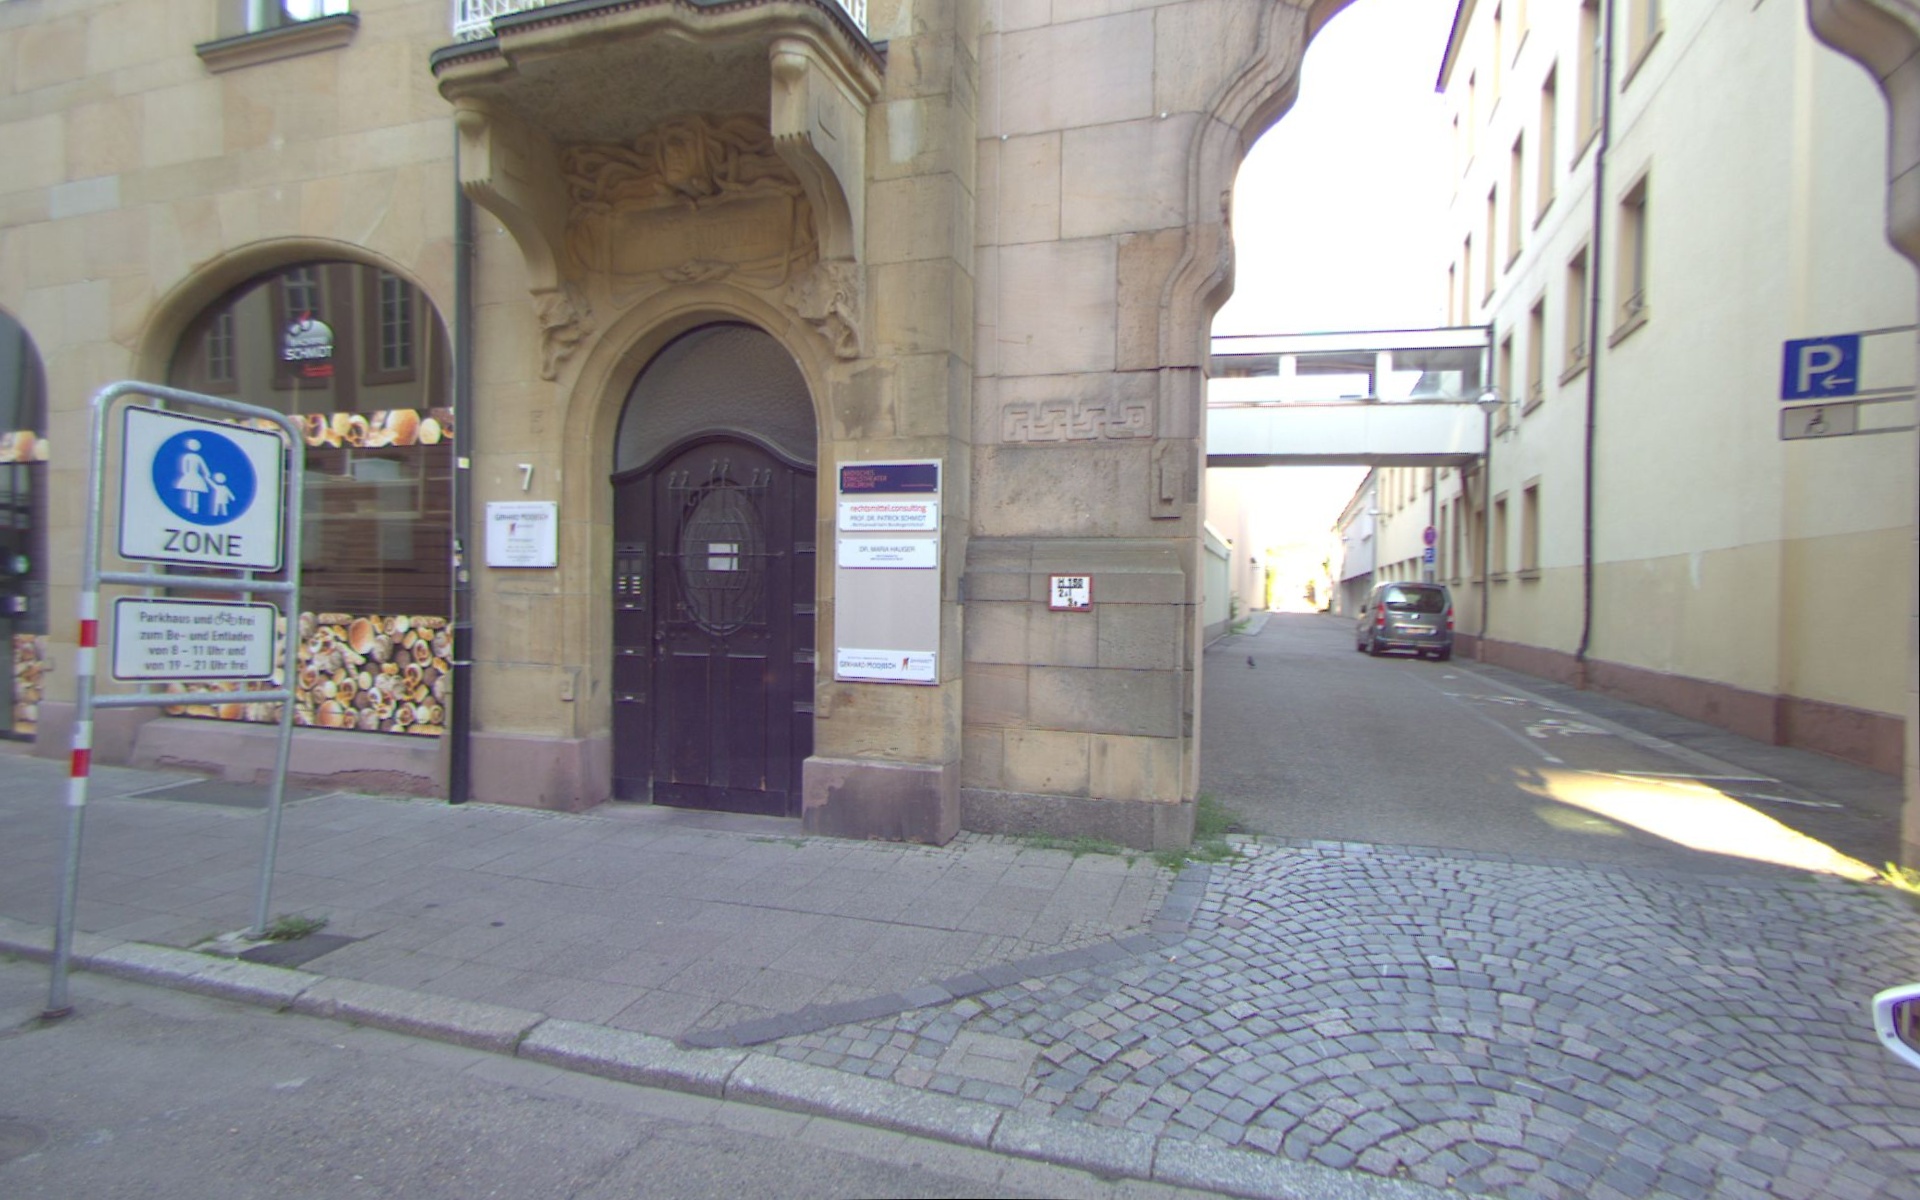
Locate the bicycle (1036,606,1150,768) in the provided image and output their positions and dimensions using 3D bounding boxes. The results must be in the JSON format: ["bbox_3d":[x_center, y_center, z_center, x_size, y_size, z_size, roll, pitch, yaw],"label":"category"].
[{"bbox_3d":[1.110,0.625,8.066,0.585,1.094,1.756,1,2,18],"label":"bicycle"}]

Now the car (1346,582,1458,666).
[{"bbox_3d":[10.901,0.544,25.048,1.824,1.779,4.164,4,1,15],"label":"car"}]
